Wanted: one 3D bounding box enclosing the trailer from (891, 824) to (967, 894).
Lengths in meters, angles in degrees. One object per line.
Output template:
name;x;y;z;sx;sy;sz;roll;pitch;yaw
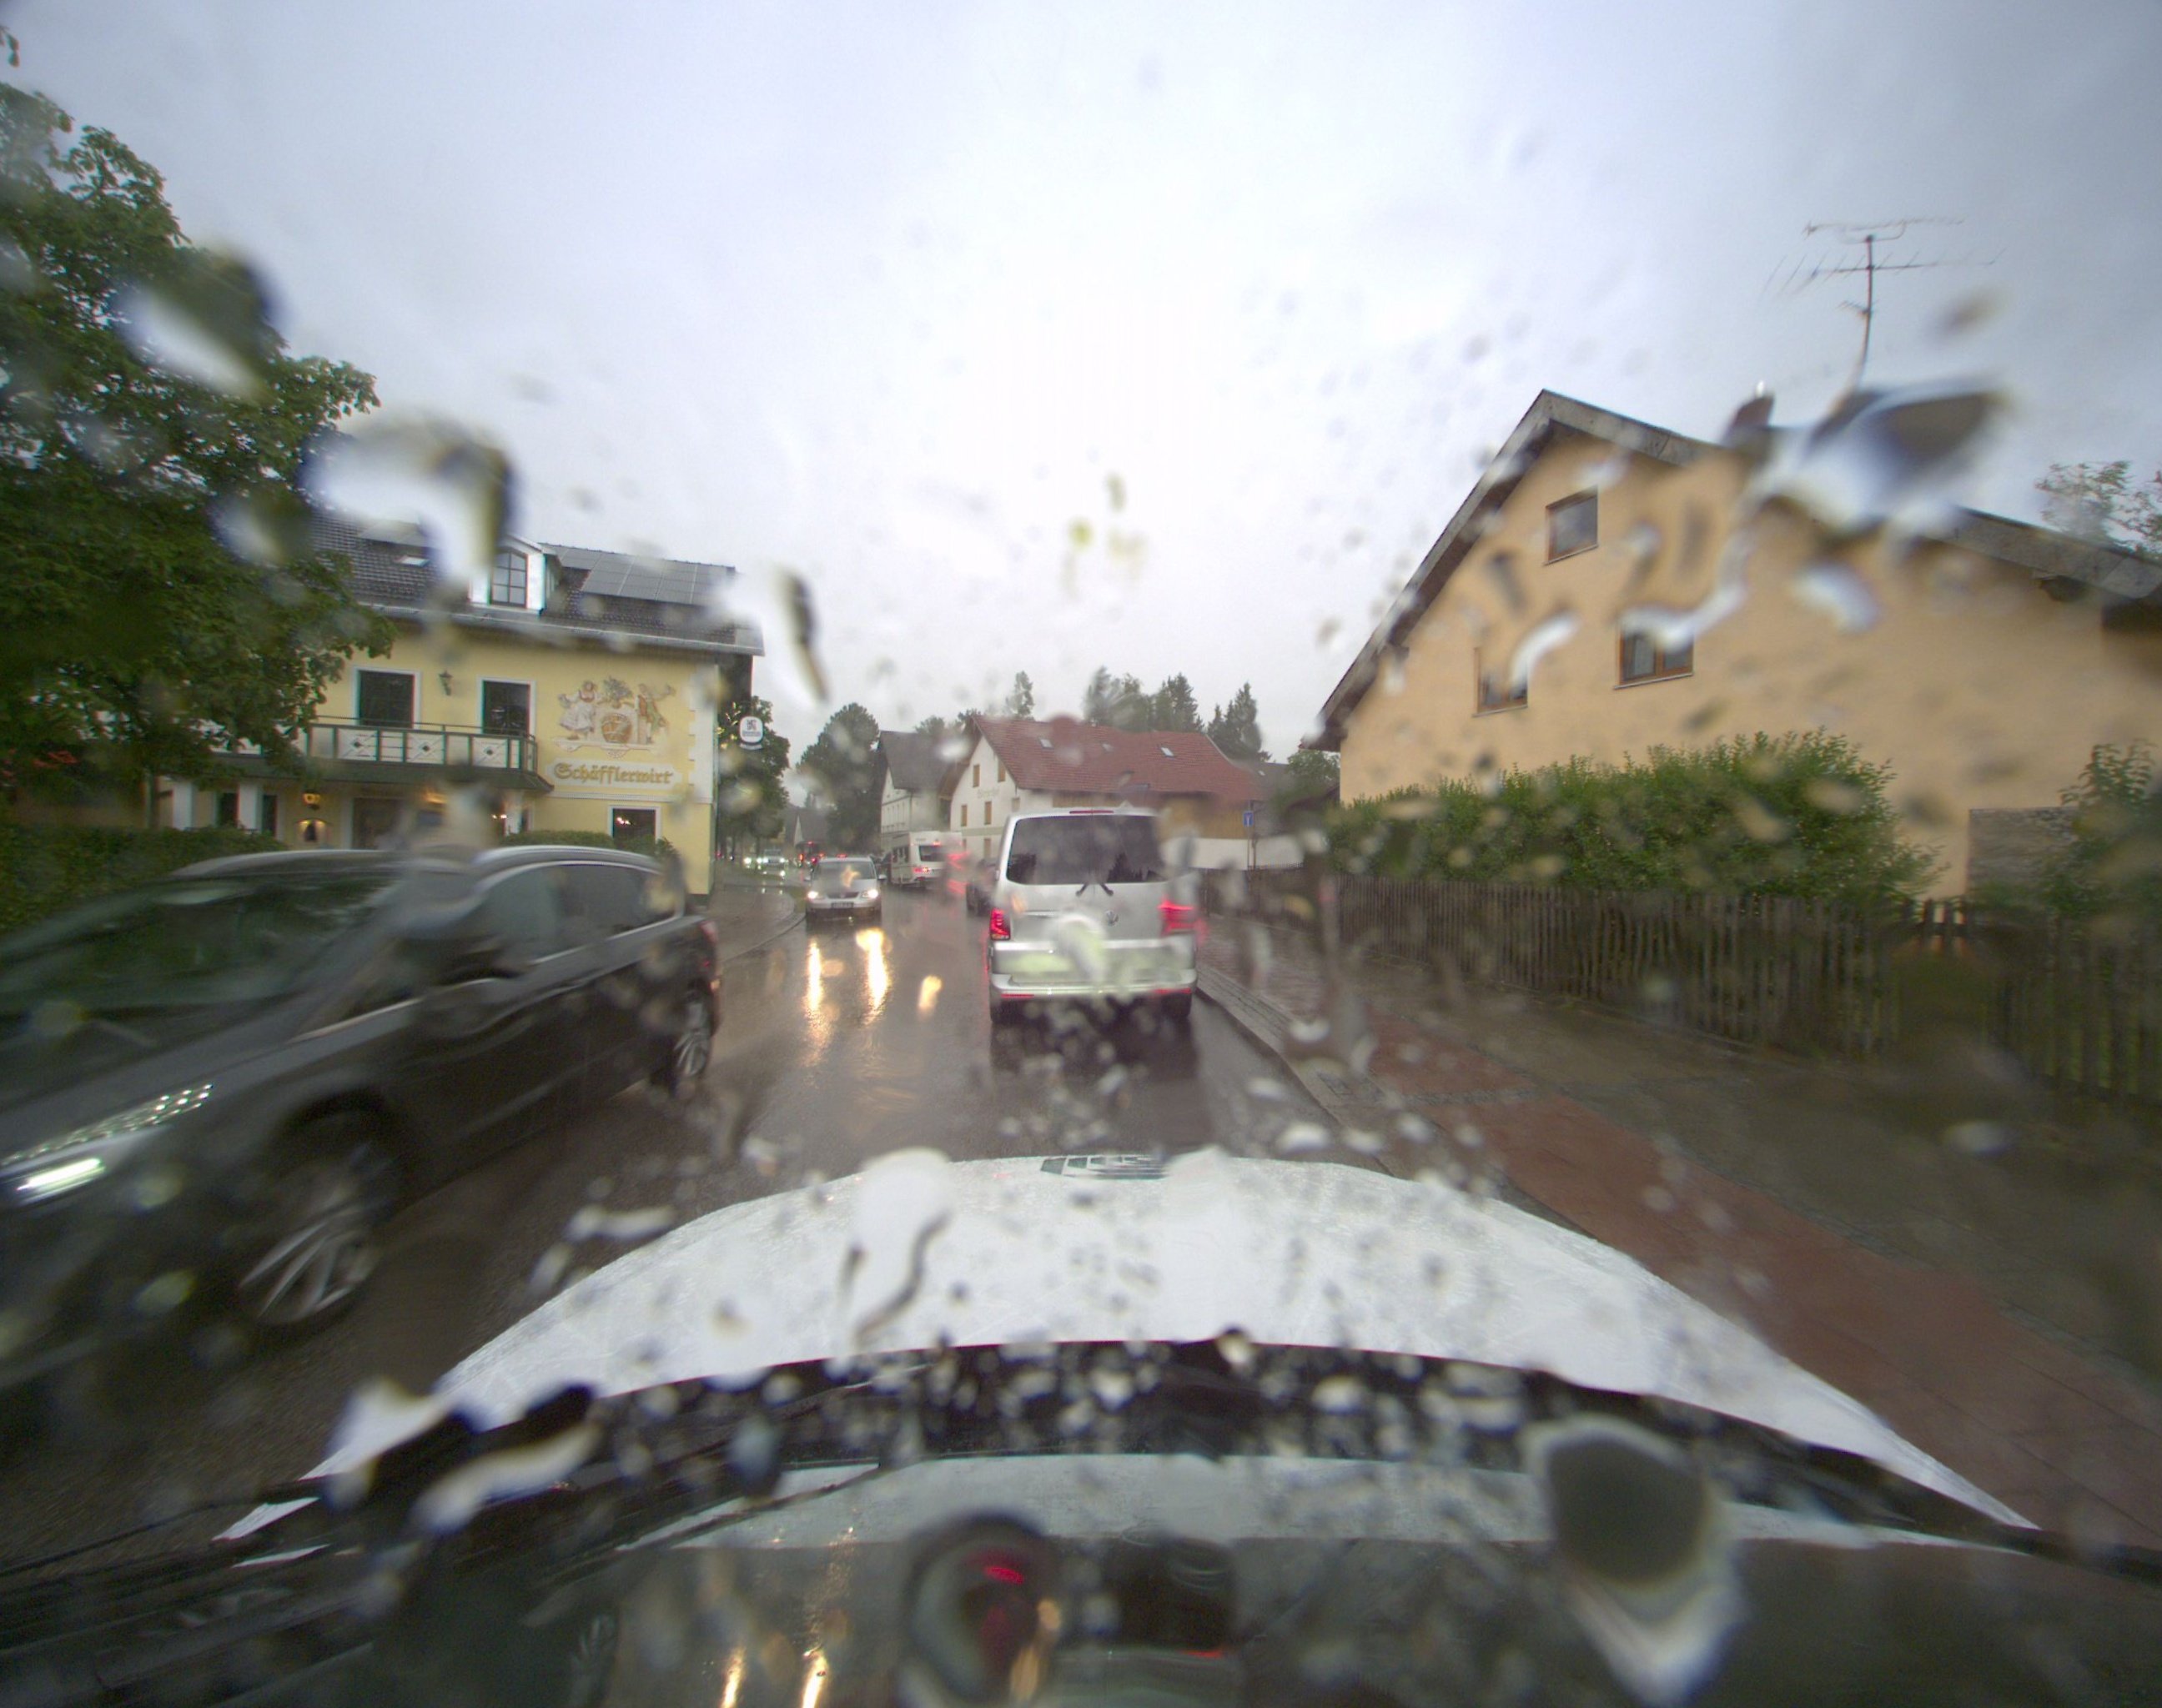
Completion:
trailer;-6.986;0.227;36.743;2.279;2.904;6.088;0;0;-21

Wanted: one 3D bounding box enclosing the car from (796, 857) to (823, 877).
car;-28.505;1.356;85.352;2.179;1.899;4.975;1;0;-24

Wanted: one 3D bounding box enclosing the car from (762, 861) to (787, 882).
car;-30.059;1.734;79.830;1.860;1.971;4.662;-1;-1;-25

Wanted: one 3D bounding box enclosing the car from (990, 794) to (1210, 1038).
car;0.137;0.519;9.206;1.771;1.963;5.072;-1;0;-1

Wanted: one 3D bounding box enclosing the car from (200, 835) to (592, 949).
car;-10.754;0.637;13.314;4.498;1.567;1.824;4;0;-26

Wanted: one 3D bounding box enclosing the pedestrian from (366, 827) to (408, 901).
pedestrian;-16.351;0.232;19.193;0.492;1.690;0.550;4;-1;-21

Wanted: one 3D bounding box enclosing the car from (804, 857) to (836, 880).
car;-24.018;1.317;74.824;2.179;1.899;4.975;1;0;-24

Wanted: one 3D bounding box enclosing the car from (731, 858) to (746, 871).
car;-50.079;1.453;119.158;1.870;1.758;4.449;-3;1;-22

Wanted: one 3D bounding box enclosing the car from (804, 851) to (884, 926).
car;-5.975;0.824;20.871;1.756;1.677;3.981;-1;-1;-14

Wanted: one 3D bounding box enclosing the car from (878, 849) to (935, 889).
car;-9.059;0.758;41.959;2.061;1.899;5.139;0;0;-21

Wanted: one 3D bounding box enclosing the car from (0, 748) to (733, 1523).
car;-3.436;0.679;3.867;1.918;1.744;4.186;-2;-1;-3

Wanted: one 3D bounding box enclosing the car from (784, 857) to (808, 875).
car;-33.190;1.399;94.847;2.179;1.899;4.975;1;0;-24

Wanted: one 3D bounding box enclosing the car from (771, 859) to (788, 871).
car;-49.287;1.757;133.098;2.179;1.899;4.975;1;0;-24

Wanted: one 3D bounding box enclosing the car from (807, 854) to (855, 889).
car;-12.239;0.846;39.729;1.596;1.610;3.506;-1;-1;-28

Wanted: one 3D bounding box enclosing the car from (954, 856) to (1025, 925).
car;-2.576;0.912;22.572;1.707;1.584;4.673;-2;1;-8

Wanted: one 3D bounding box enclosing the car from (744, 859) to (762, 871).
car;-41.410;1.363;102.688;1.871;1.359;4.447;-2;1;-25
